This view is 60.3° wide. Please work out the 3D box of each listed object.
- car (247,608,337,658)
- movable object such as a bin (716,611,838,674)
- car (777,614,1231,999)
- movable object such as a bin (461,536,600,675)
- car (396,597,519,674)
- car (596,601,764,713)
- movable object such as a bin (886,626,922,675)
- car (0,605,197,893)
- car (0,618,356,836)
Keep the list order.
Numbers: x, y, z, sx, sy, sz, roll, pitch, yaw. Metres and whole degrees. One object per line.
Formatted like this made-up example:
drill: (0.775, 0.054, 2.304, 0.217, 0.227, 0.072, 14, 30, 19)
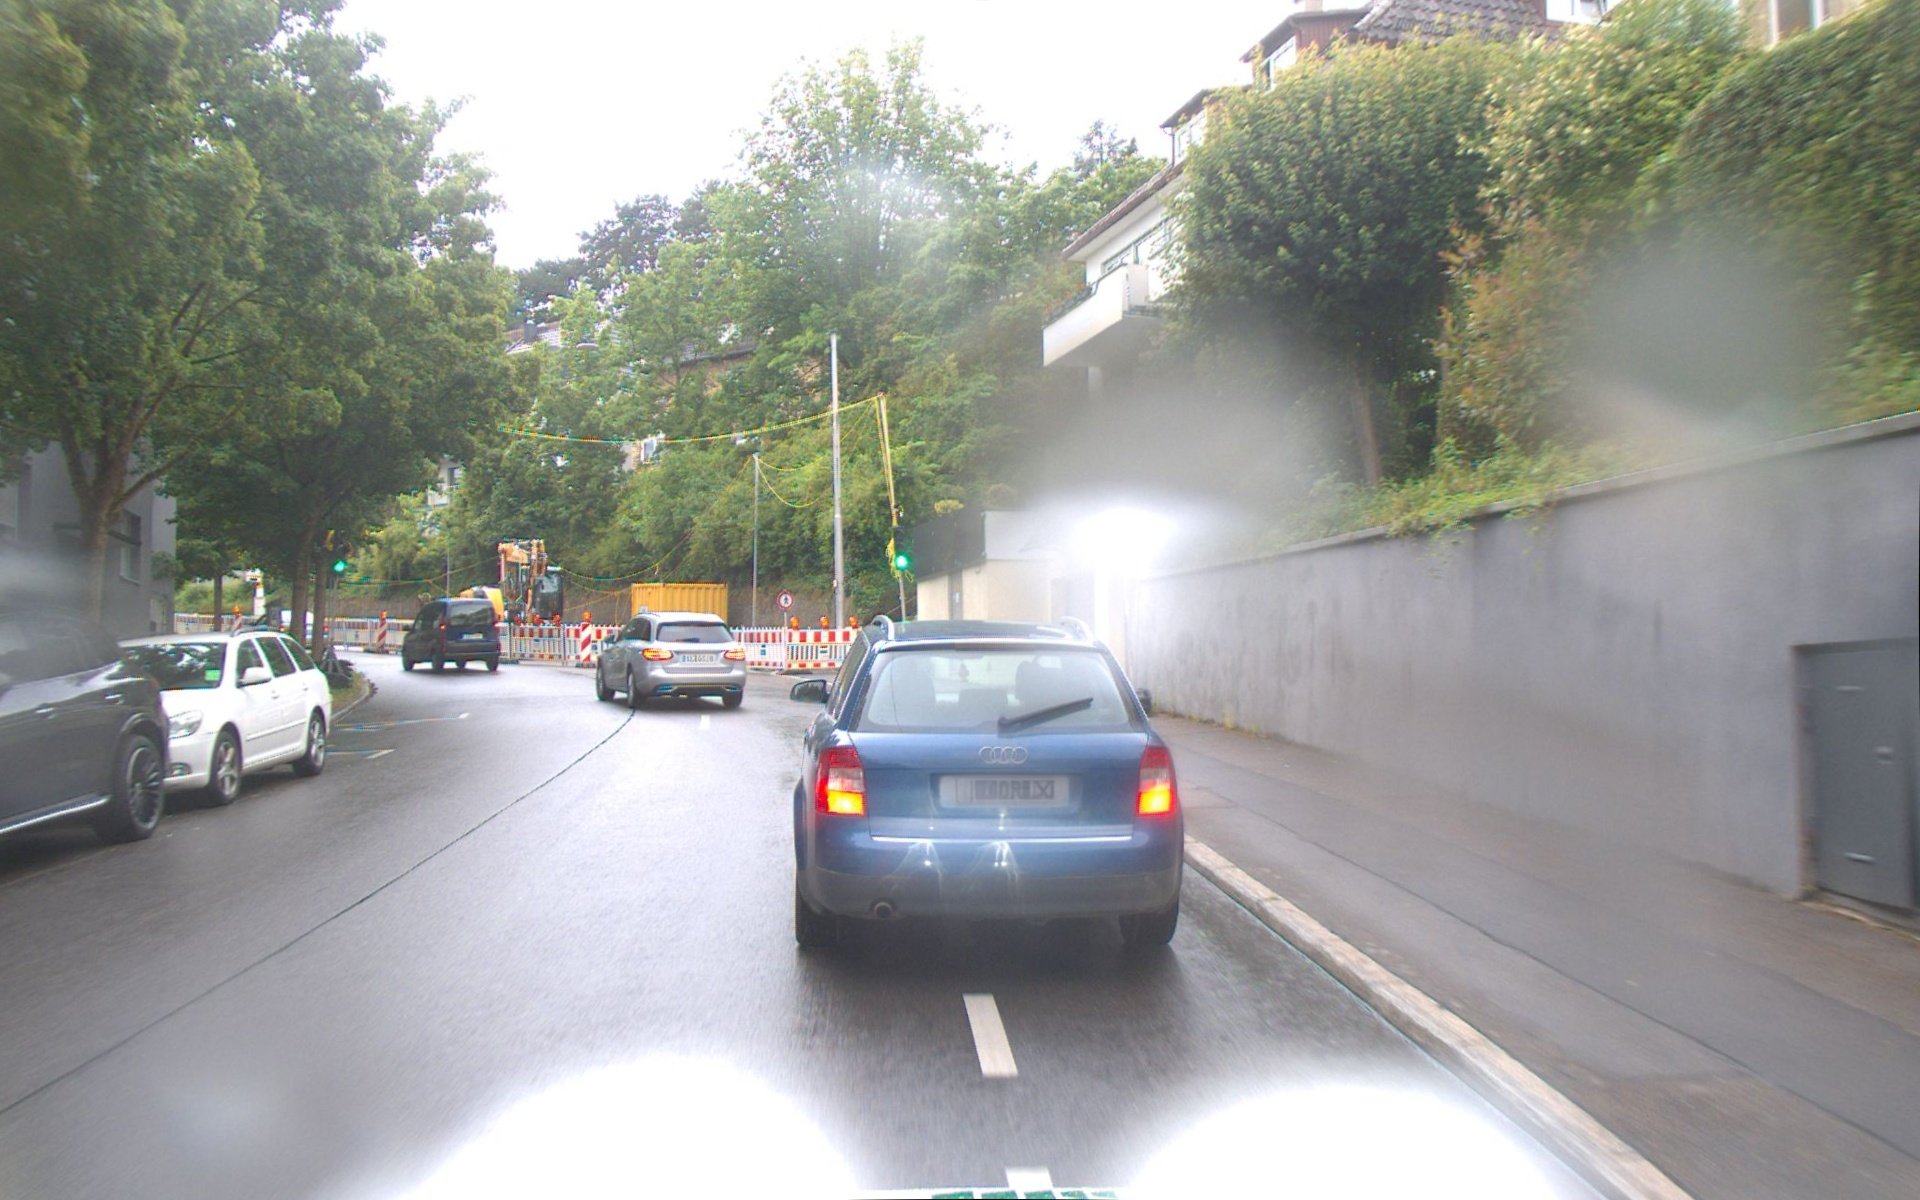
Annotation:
car: (-22.217, 1.105, 54.951, 1.709, 1.512, 4.020, -2, 0, -38)
movable object such as a bin: (-4.916, 1.089, 43.945, 1.970, 1.546, 3.965, 0, 0, -27)
car: (0.100, 0.810, 8.357, 1.750, 1.467, 3.961, 0, 0, -2)
movable object such as a bin: (-13.822, 0.148, 52.783, 2.786, 4.084, 7.261, 0, 0, -27)
car: (-13.058, 0.910, 42.856, 1.976, 1.825, 3.953, -2, 0, -33)
car: (-4.635, 0.843, 26.906, 1.899, 1.646, 4.293, -1, 0, -21)
movable object such as a bin: (-1.235, 1.107, 36.629, 0.706, 1.050, 0.591, -1, 0, -9)
car: (-6.394, 0.890, 10.095, 1.649, 1.637, 4.572, -2, 0, -5)
car: (-7.030, 1.022, 15.130, 1.649, 1.534, 4.311, -4, 0, -5)
